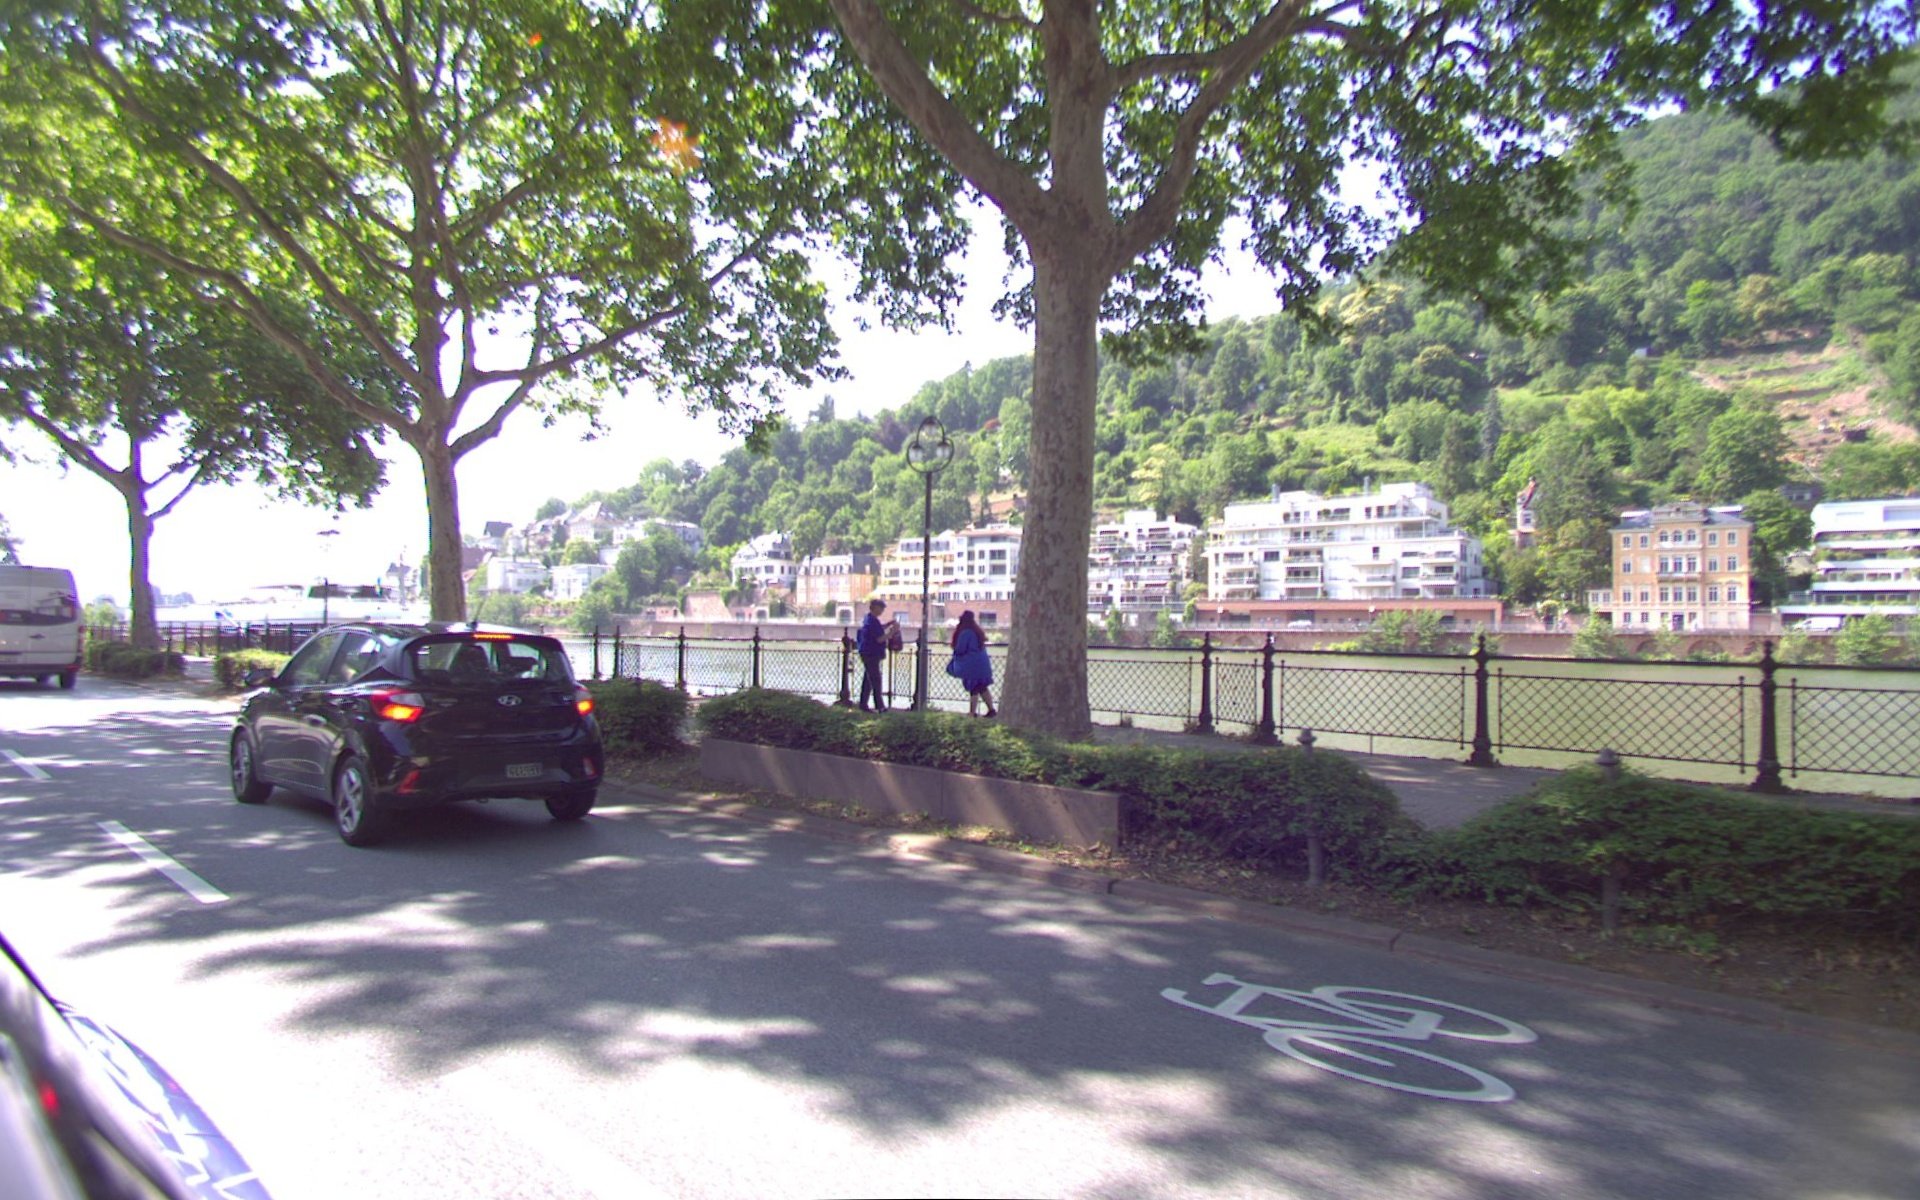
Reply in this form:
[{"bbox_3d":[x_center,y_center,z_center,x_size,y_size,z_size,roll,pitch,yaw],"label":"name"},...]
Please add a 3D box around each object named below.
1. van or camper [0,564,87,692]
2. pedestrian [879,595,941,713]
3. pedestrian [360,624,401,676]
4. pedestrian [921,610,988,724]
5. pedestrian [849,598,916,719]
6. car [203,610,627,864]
[{"bbox_3d":[-21.495,0.617,22.741,5.838,2.587,1.940,-1,-4,41],"label":"van or camper"},{"bbox_3d":[-0.797,0.839,16.114,0.705,1.810,0.696,-1,-2,43],"label":"pedestrian"},{"bbox_3d":[-15.026,1.296,26.241,0.656,1.318,0.695,-1,-3,42],"label":"pedestrian"},{"bbox_3d":[-0.080,0.960,14.888,0.705,1.615,0.696,-1,-2,43],"label":"pedestrian"},{"bbox_3d":[-1.155,0.859,15.112,0.705,1.744,0.696,-1,-2,43],"label":"pedestrian"},{"bbox_3d":[-4.372,0.854,7.892,3.777,1.480,1.632,0,-2,41],"label":"car"}]
